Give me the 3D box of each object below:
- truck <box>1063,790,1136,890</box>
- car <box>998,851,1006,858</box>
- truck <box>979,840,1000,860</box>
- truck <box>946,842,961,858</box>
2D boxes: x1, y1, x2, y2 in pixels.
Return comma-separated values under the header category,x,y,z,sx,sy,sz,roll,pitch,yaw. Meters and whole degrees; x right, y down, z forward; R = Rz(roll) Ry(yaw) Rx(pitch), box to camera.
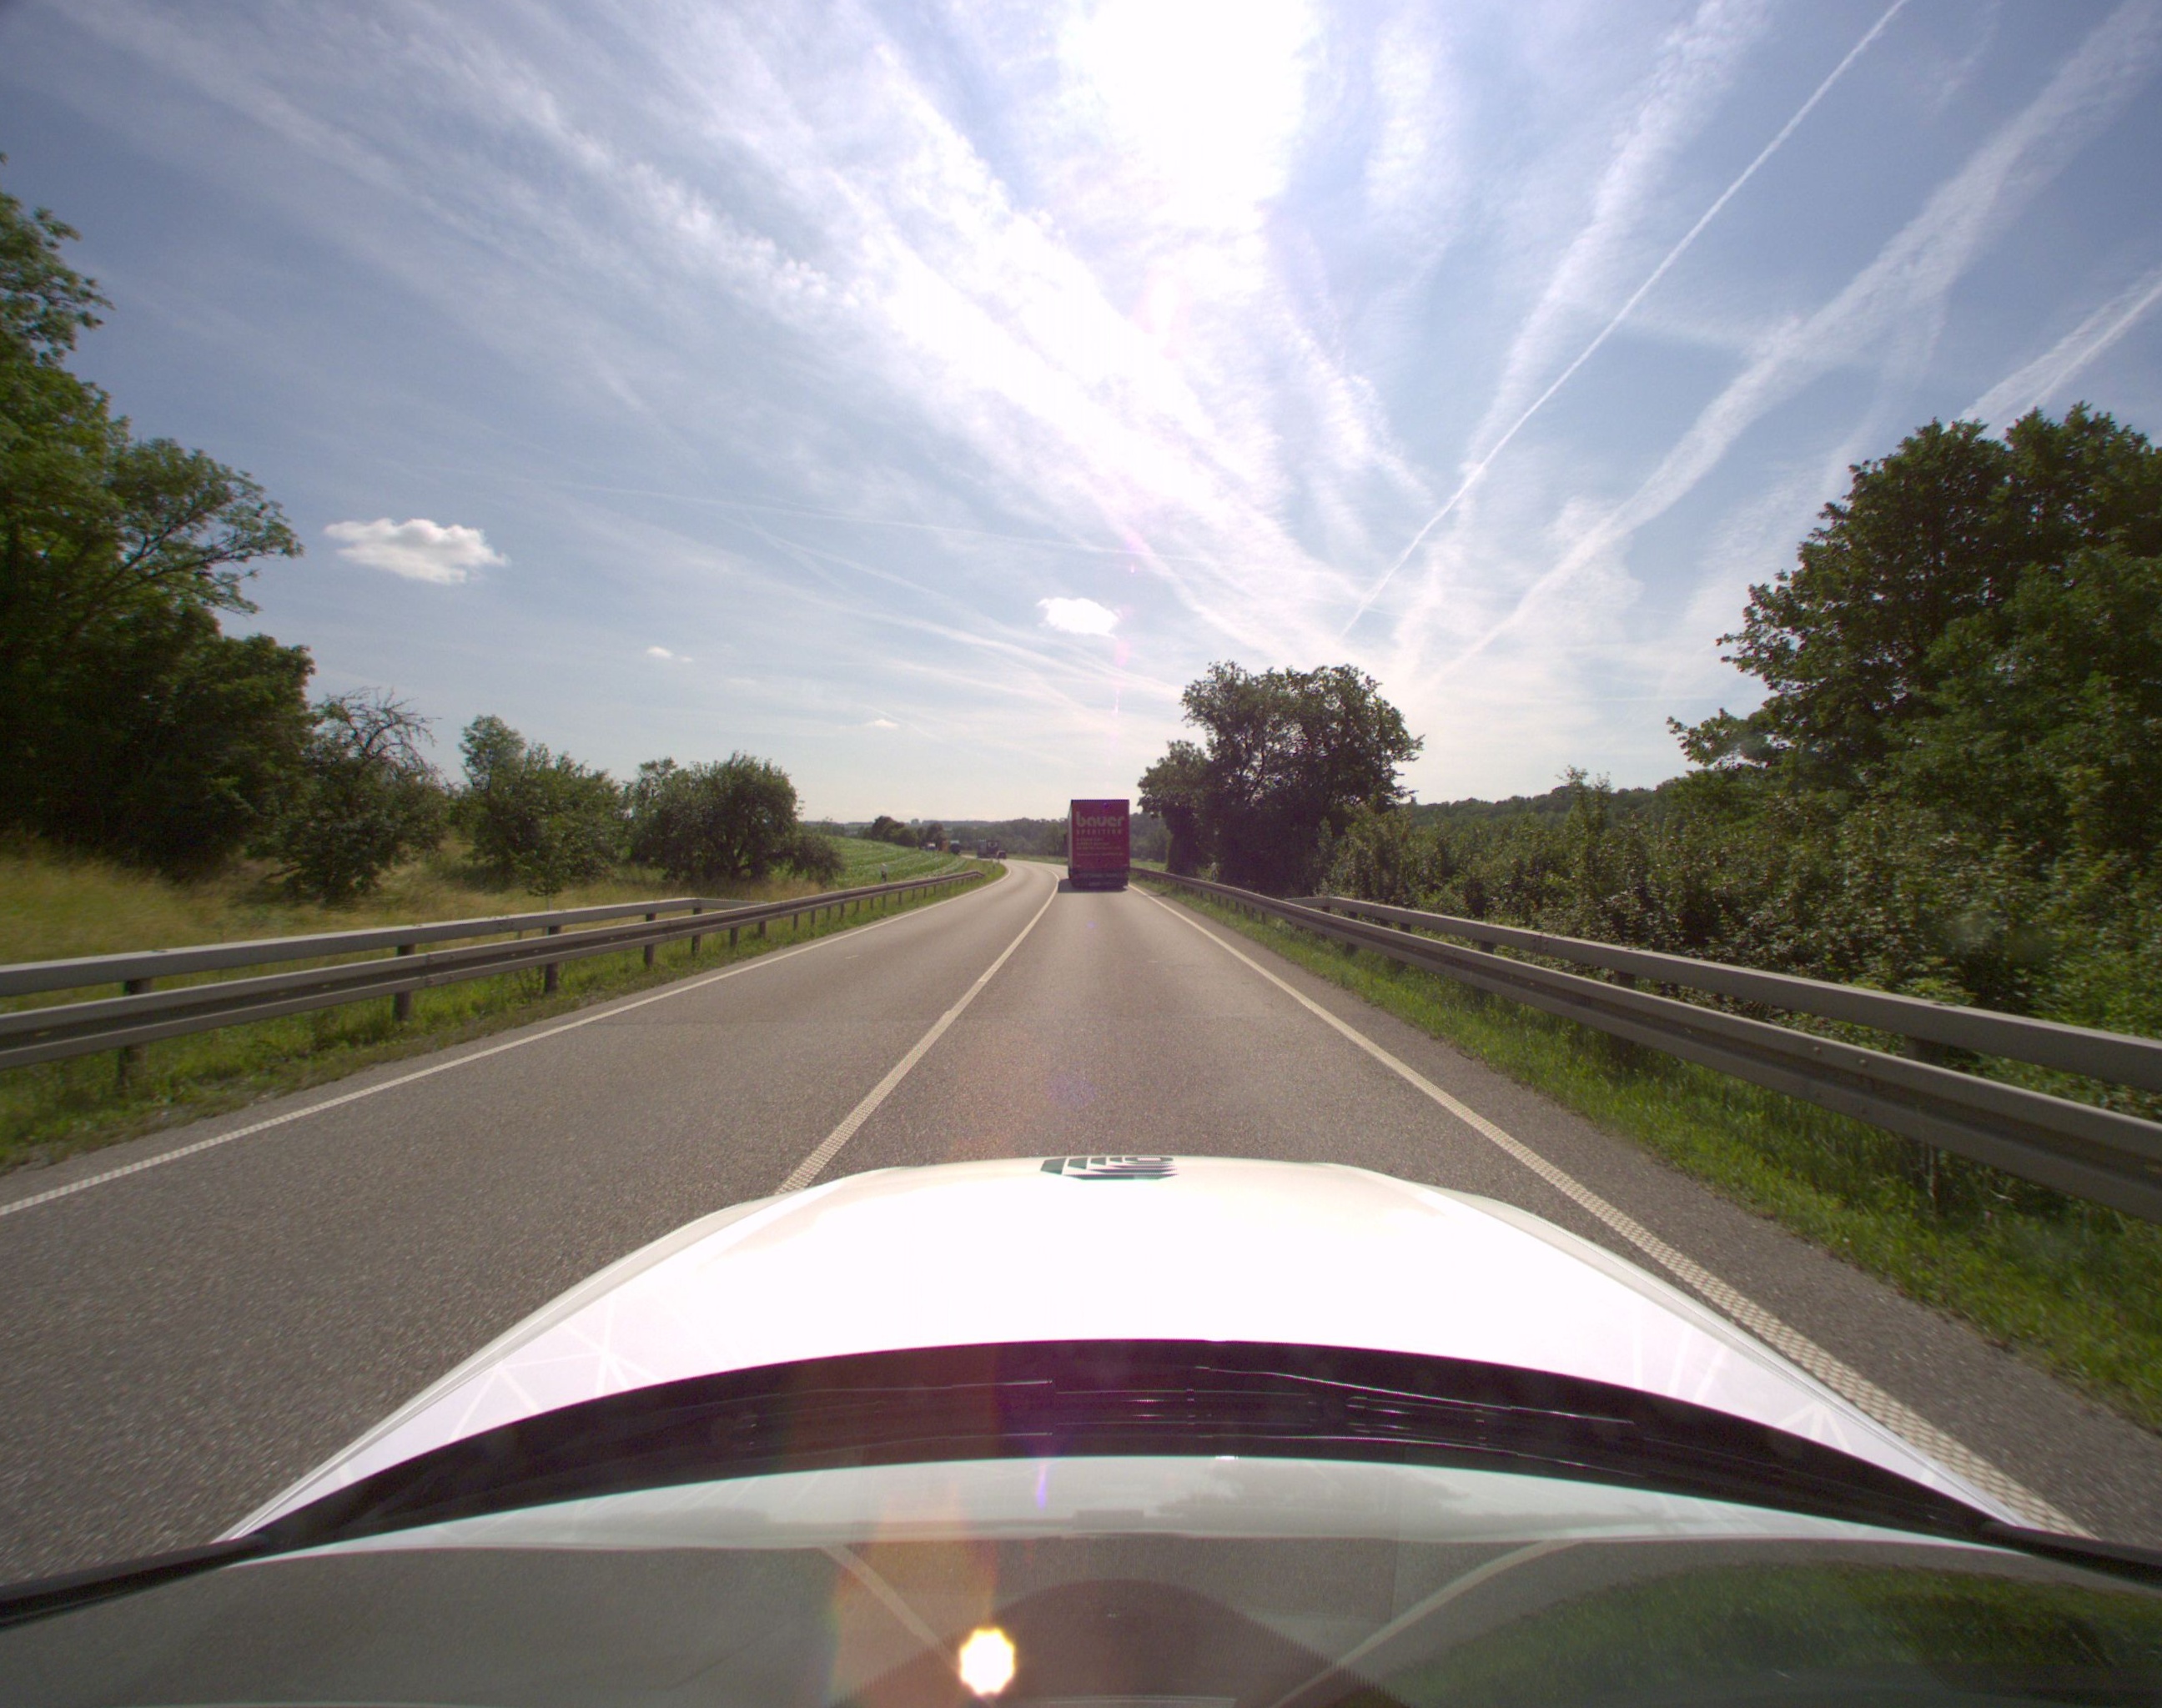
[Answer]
category,x,y,z,sx,sy,sz,roll,pitch,yaw
truck,1.068,-0.586,39.170,3.081,4.262,8.322,-1,0,4
car,-15.767,0.099,162.977,1.579,1.501,3.870,0,0,-5
truck,-20.762,-0.836,184.383,3.644,4.292,11.933,0,-1,-12
truck,-33.622,-1.027,213.769,2.773,3.998,16.954,0,0,-12
